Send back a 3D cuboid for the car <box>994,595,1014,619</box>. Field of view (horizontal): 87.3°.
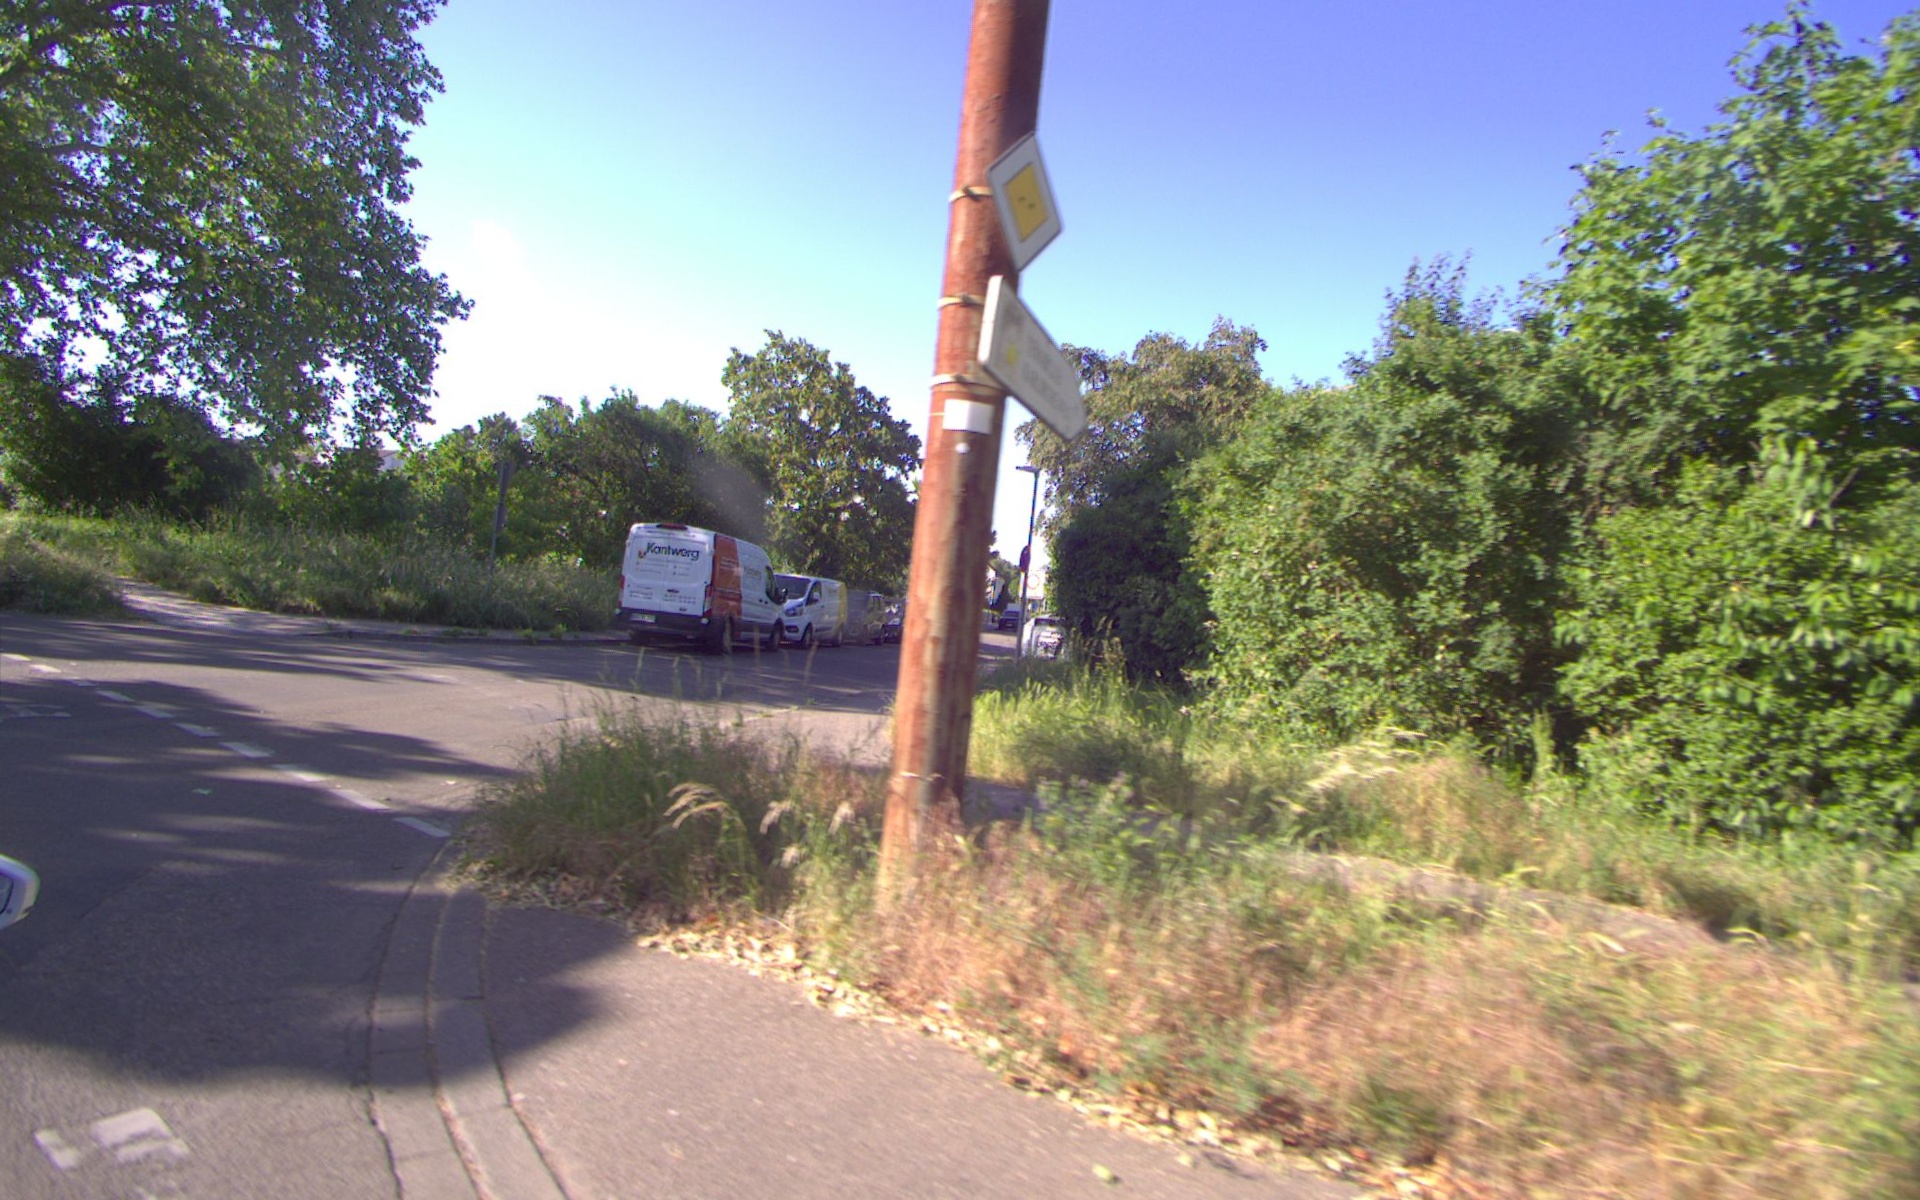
[{"bbox_3d":[5.193,0.817,117.505,1.962,2.500,4.002,7,-1,4],"label":"car"}]

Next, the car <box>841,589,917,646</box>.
[{"bbox_3d":[-3.101,0.744,39.566,1.983,1.897,3.930,7,-1,8],"label":"car"}]

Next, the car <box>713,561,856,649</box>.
[{"bbox_3d":[-4.695,0.228,27.915,2.249,1.965,5.153,7,-1,8],"label":"car"}]

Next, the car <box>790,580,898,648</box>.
[{"bbox_3d":[-3.831,0.539,34.257,2.249,1.897,5.153,7,-1,8],"label":"car"}]

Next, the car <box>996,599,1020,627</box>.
[{"bbox_3d":[4.609,1.282,96.469,1.962,2.333,4.003,7,-1,4],"label":"car"}]

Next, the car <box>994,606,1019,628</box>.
[{"bbox_3d":[4.155,1.526,89.660,1.962,1.722,4.003,7,-1,4],"label":"car"}]

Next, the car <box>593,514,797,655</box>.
[{"bbox_3d":[-5.543,-0.209,21.918,2.285,2.468,5.005,7,-1,8],"label":"car"}]

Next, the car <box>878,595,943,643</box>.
[{"bbox_3d":[-2.196,0.920,46.130,1.983,1.877,4.401,7,-1,8],"label":"car"}]
